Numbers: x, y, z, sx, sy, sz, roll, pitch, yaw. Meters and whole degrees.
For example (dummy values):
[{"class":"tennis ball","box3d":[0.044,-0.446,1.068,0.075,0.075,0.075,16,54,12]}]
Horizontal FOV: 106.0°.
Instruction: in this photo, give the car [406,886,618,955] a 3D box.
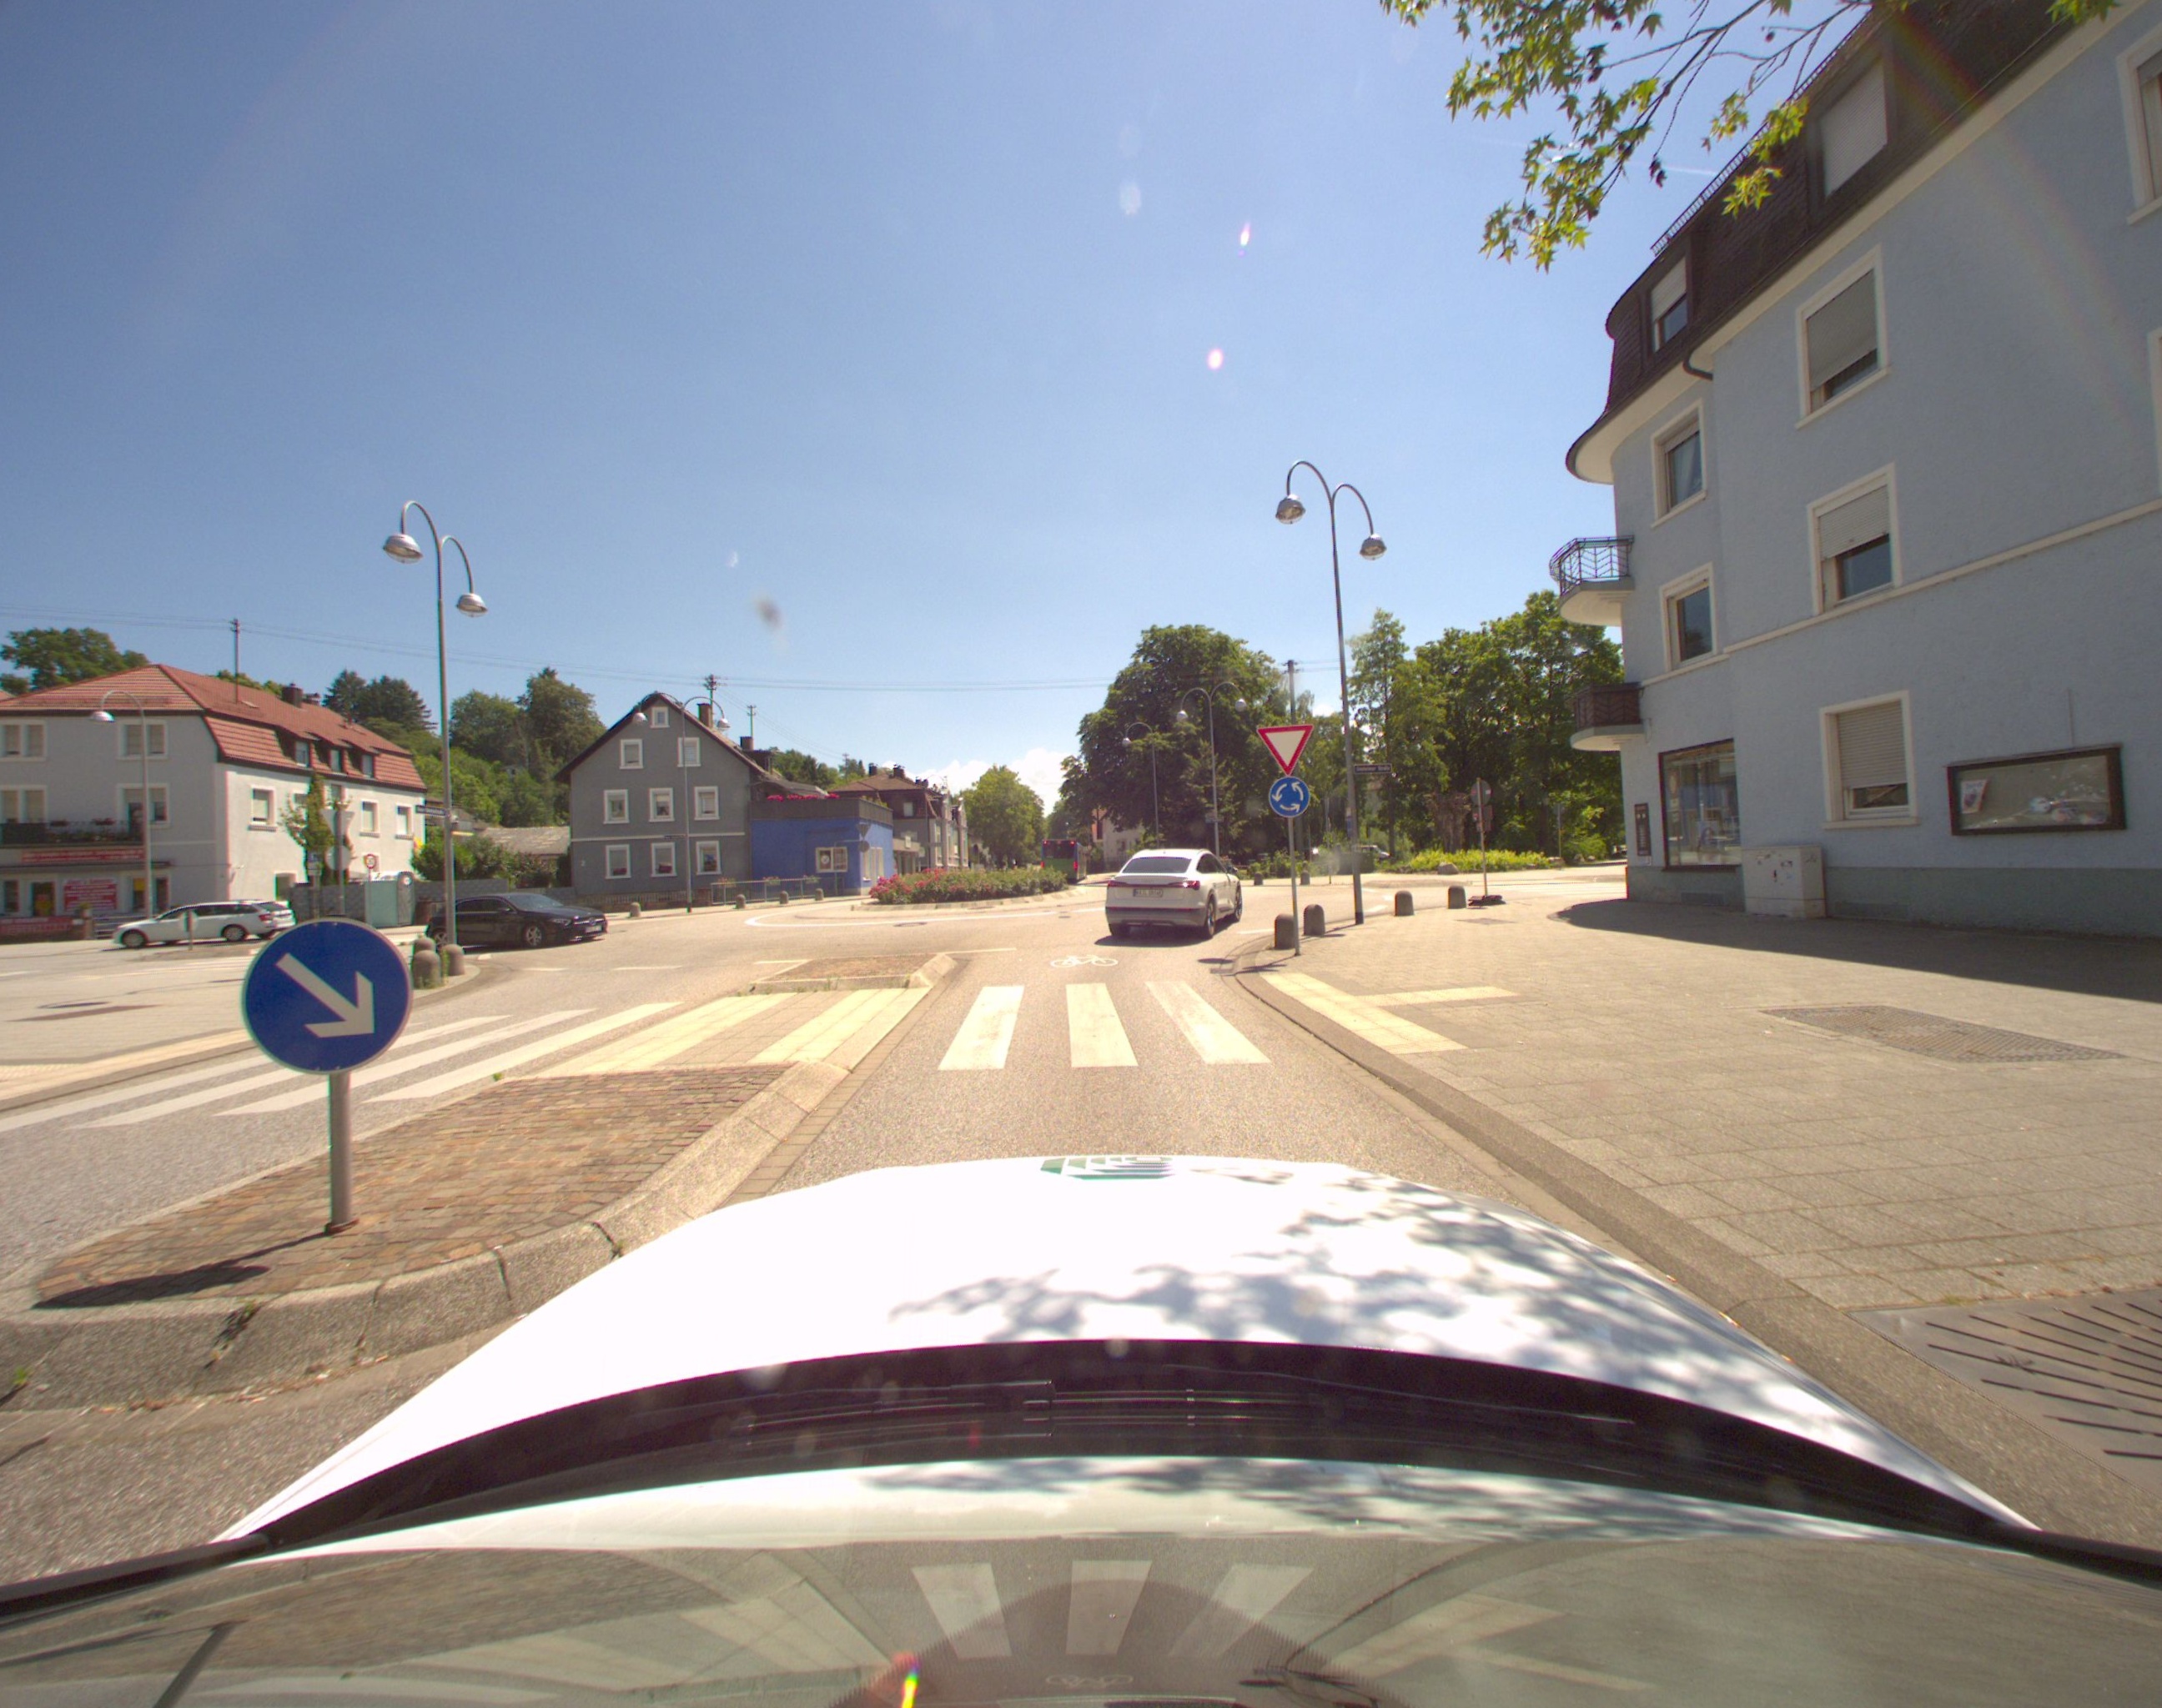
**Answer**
[{"class":"car","box3d":[-14.596,1.696,20.983,4.397,1.457,1.773,-3,0,9]}]

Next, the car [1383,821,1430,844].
[{"class":"car","box3d":[30.938,-2.021,77.367,3.950,2.013,2.012,-3,0,25]}]

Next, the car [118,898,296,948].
[{"class":"car","box3d":[-31.566,2.467,29.556,4.077,1.391,1.600,-2,2,-18]}]

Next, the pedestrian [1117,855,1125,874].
[{"class":"pedestrian","box3d":[3.582,0.960,72.940,0.502,1.650,0.578,-2,-1,-7]}]

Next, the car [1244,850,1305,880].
[{"class":"car","box3d":[11.244,0.630,47.395,3.054,1.552,1.626,-3,0,-15]}]

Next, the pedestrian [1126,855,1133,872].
[{"class":"pedestrian","box3d":[4.436,0.884,74.274,0.488,1.522,0.541,-2,-1,-7]}]

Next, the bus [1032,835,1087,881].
[{"class":"bus","box3d":[-1.388,0.414,65.055,3.694,3.171,18.067,-1,-1,1]}]

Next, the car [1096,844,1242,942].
[{"class":"car","box3d":[1.922,0.643,16.374,1.882,1.662,4.432,0,1,20]}]
